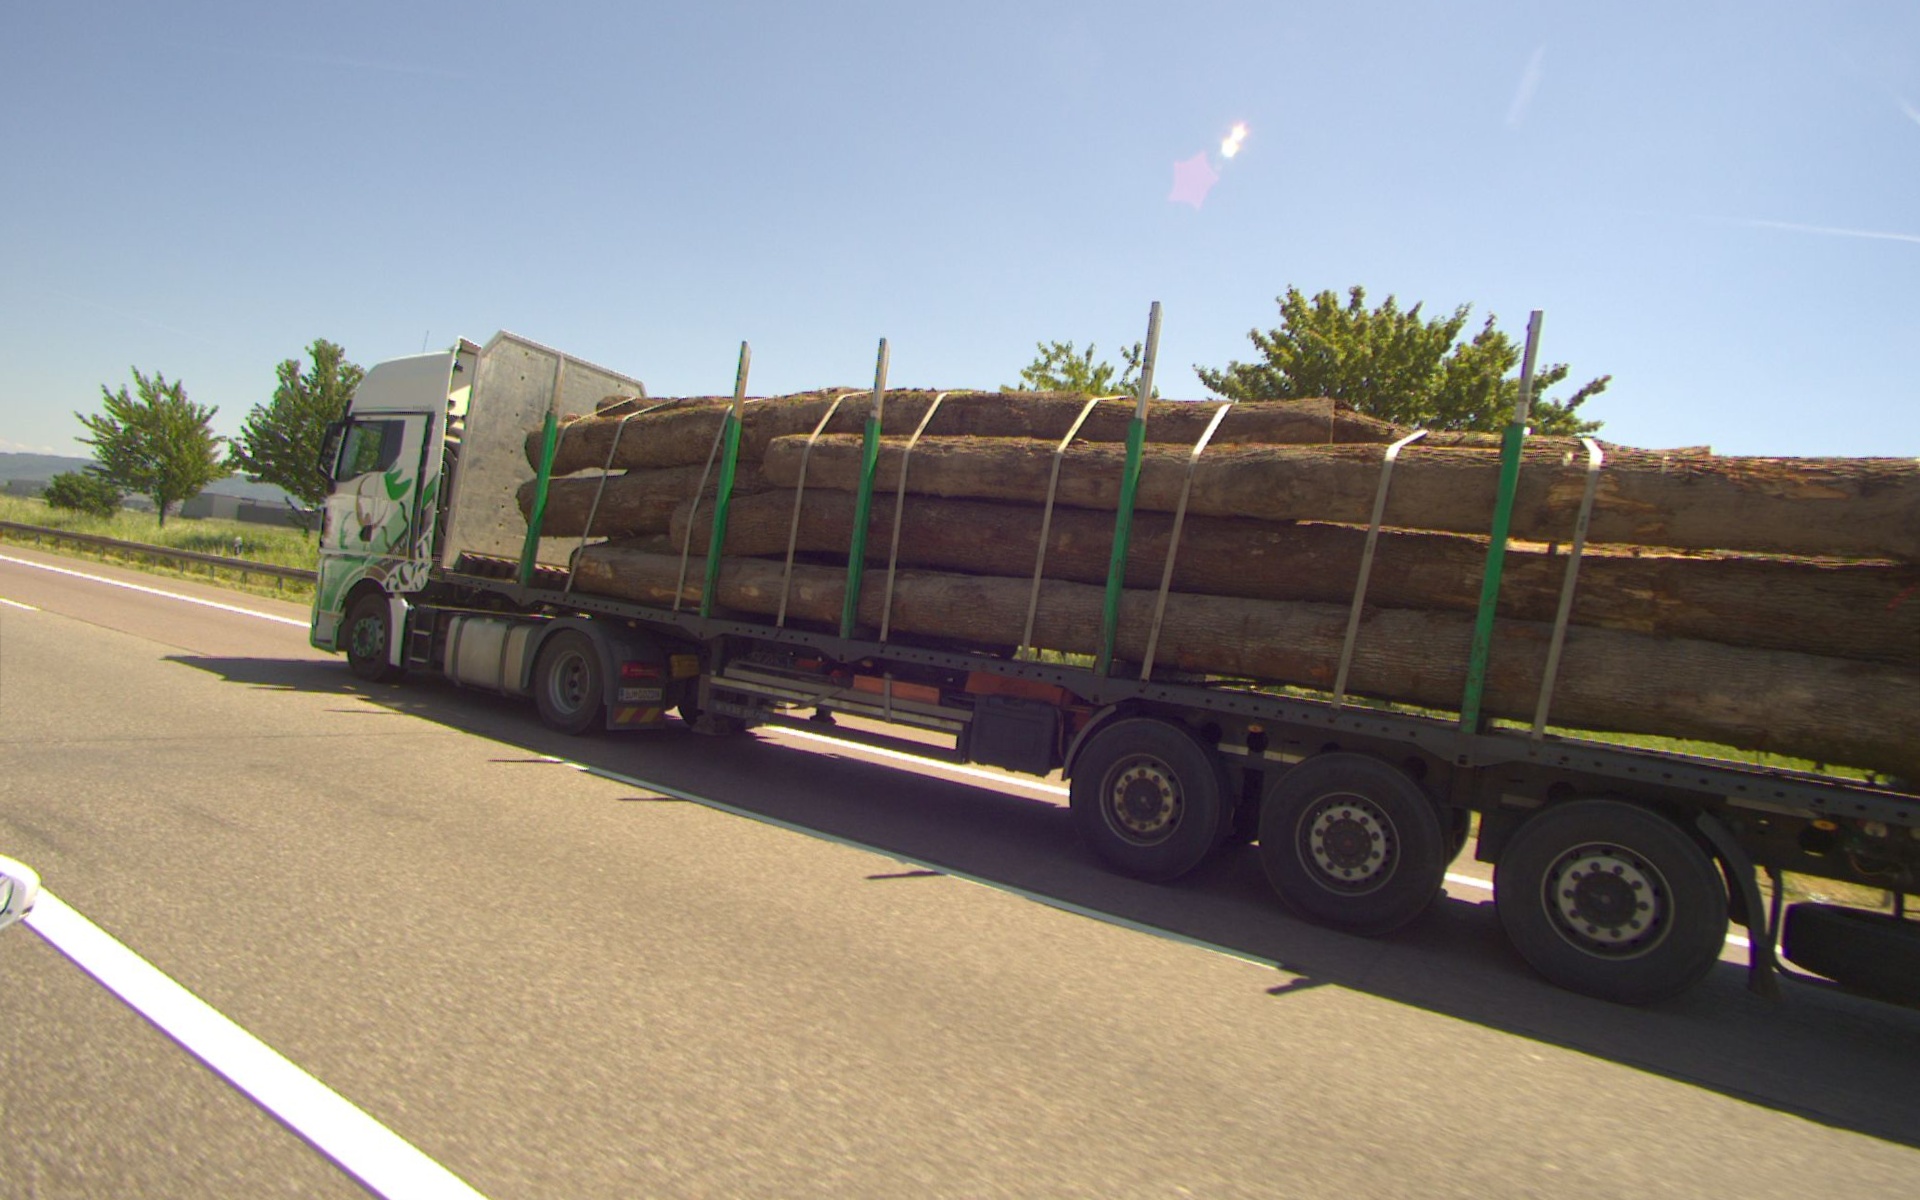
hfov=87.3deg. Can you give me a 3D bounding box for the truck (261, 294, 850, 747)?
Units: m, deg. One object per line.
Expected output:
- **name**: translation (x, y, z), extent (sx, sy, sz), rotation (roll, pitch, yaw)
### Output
- **truck**: translation (-4.905, -0.899, 11.780), extent (6.526, 4.042, 2.674), rotation (7, -1, 32)

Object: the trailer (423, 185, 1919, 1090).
- **trailer**: translation (0.977, -0.218, 8.093), extent (13.410, 4.005, 2.657), rotation (7, -1, 32)
